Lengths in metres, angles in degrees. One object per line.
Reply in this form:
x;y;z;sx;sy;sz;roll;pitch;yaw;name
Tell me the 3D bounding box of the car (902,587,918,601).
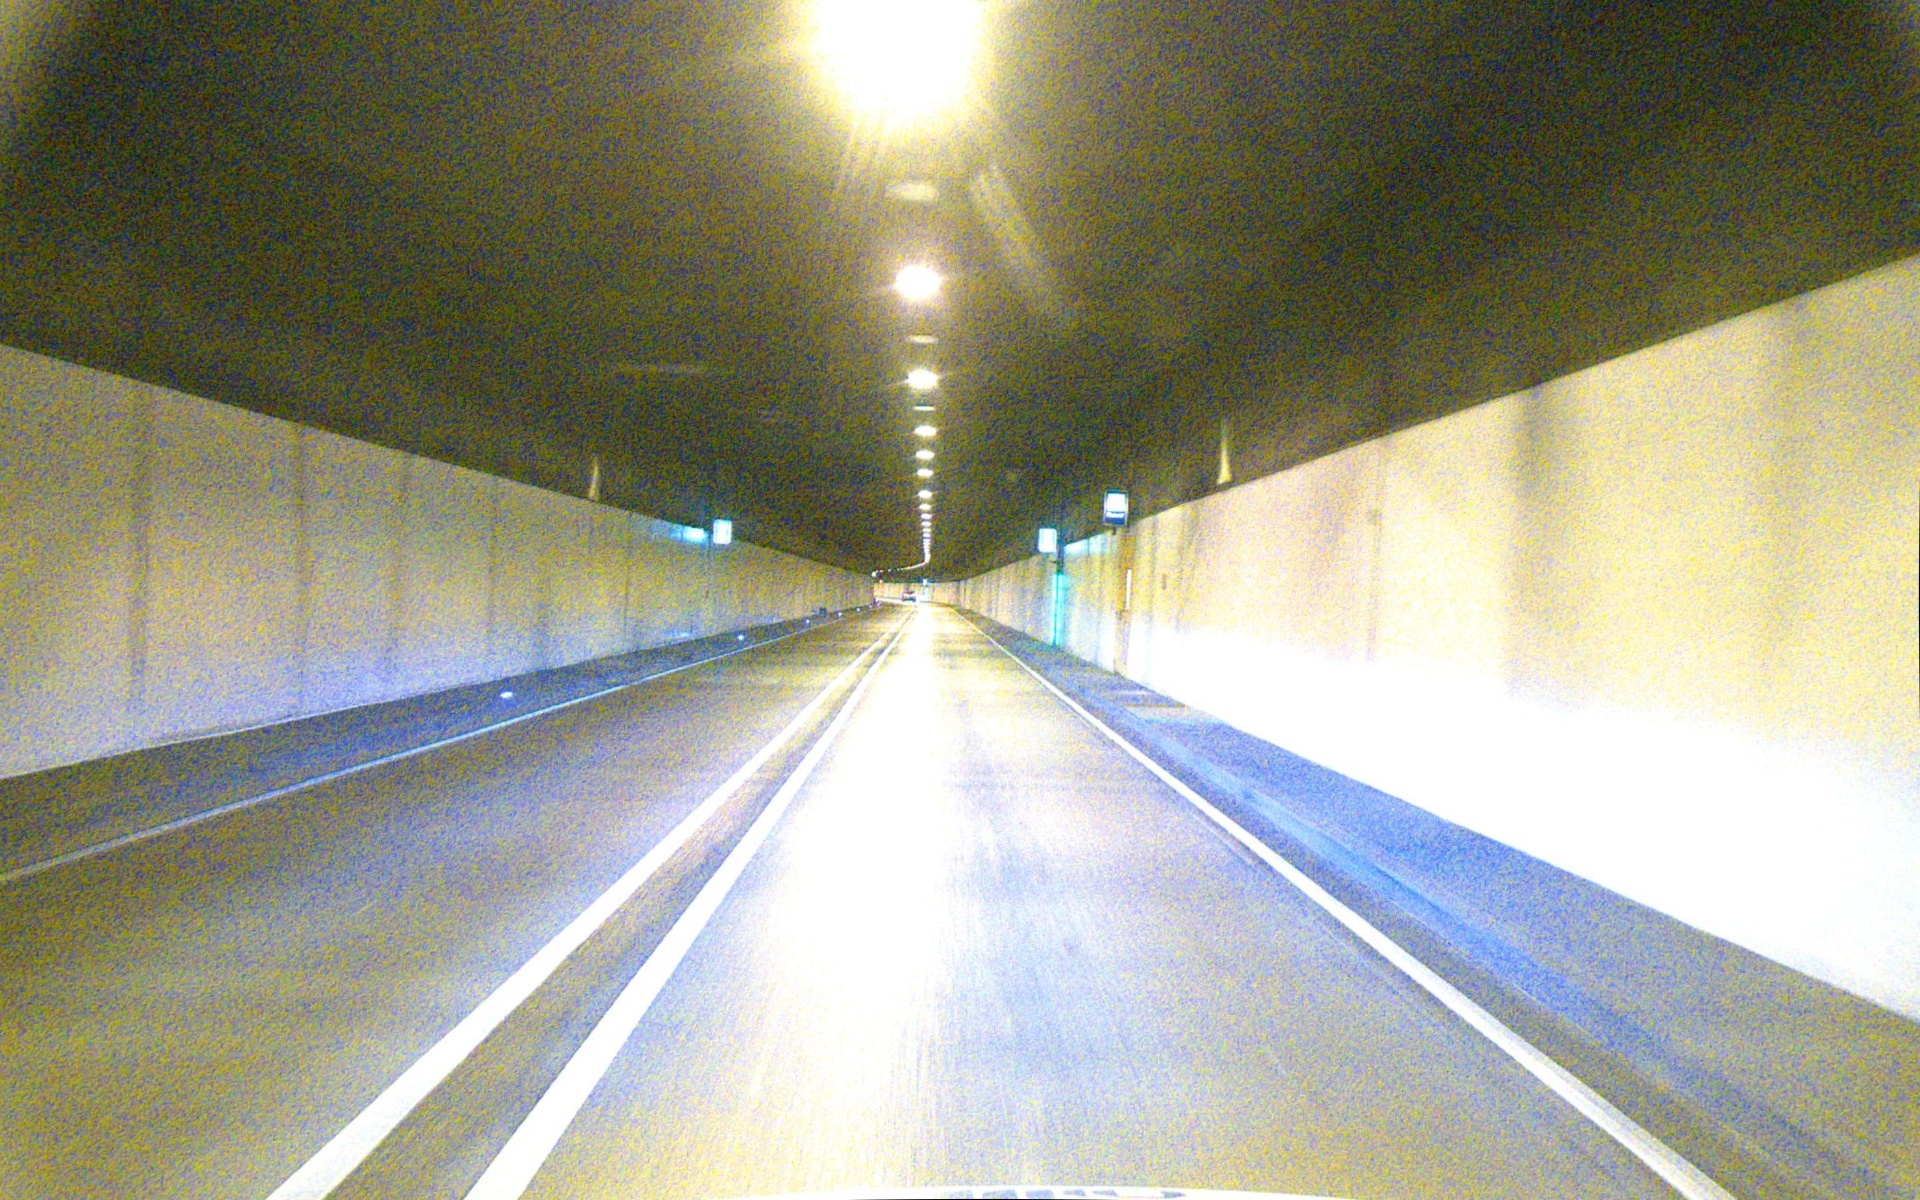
-7.176;-0.841;238.828;1.929;1.972;4.607;2;0;-6;car
